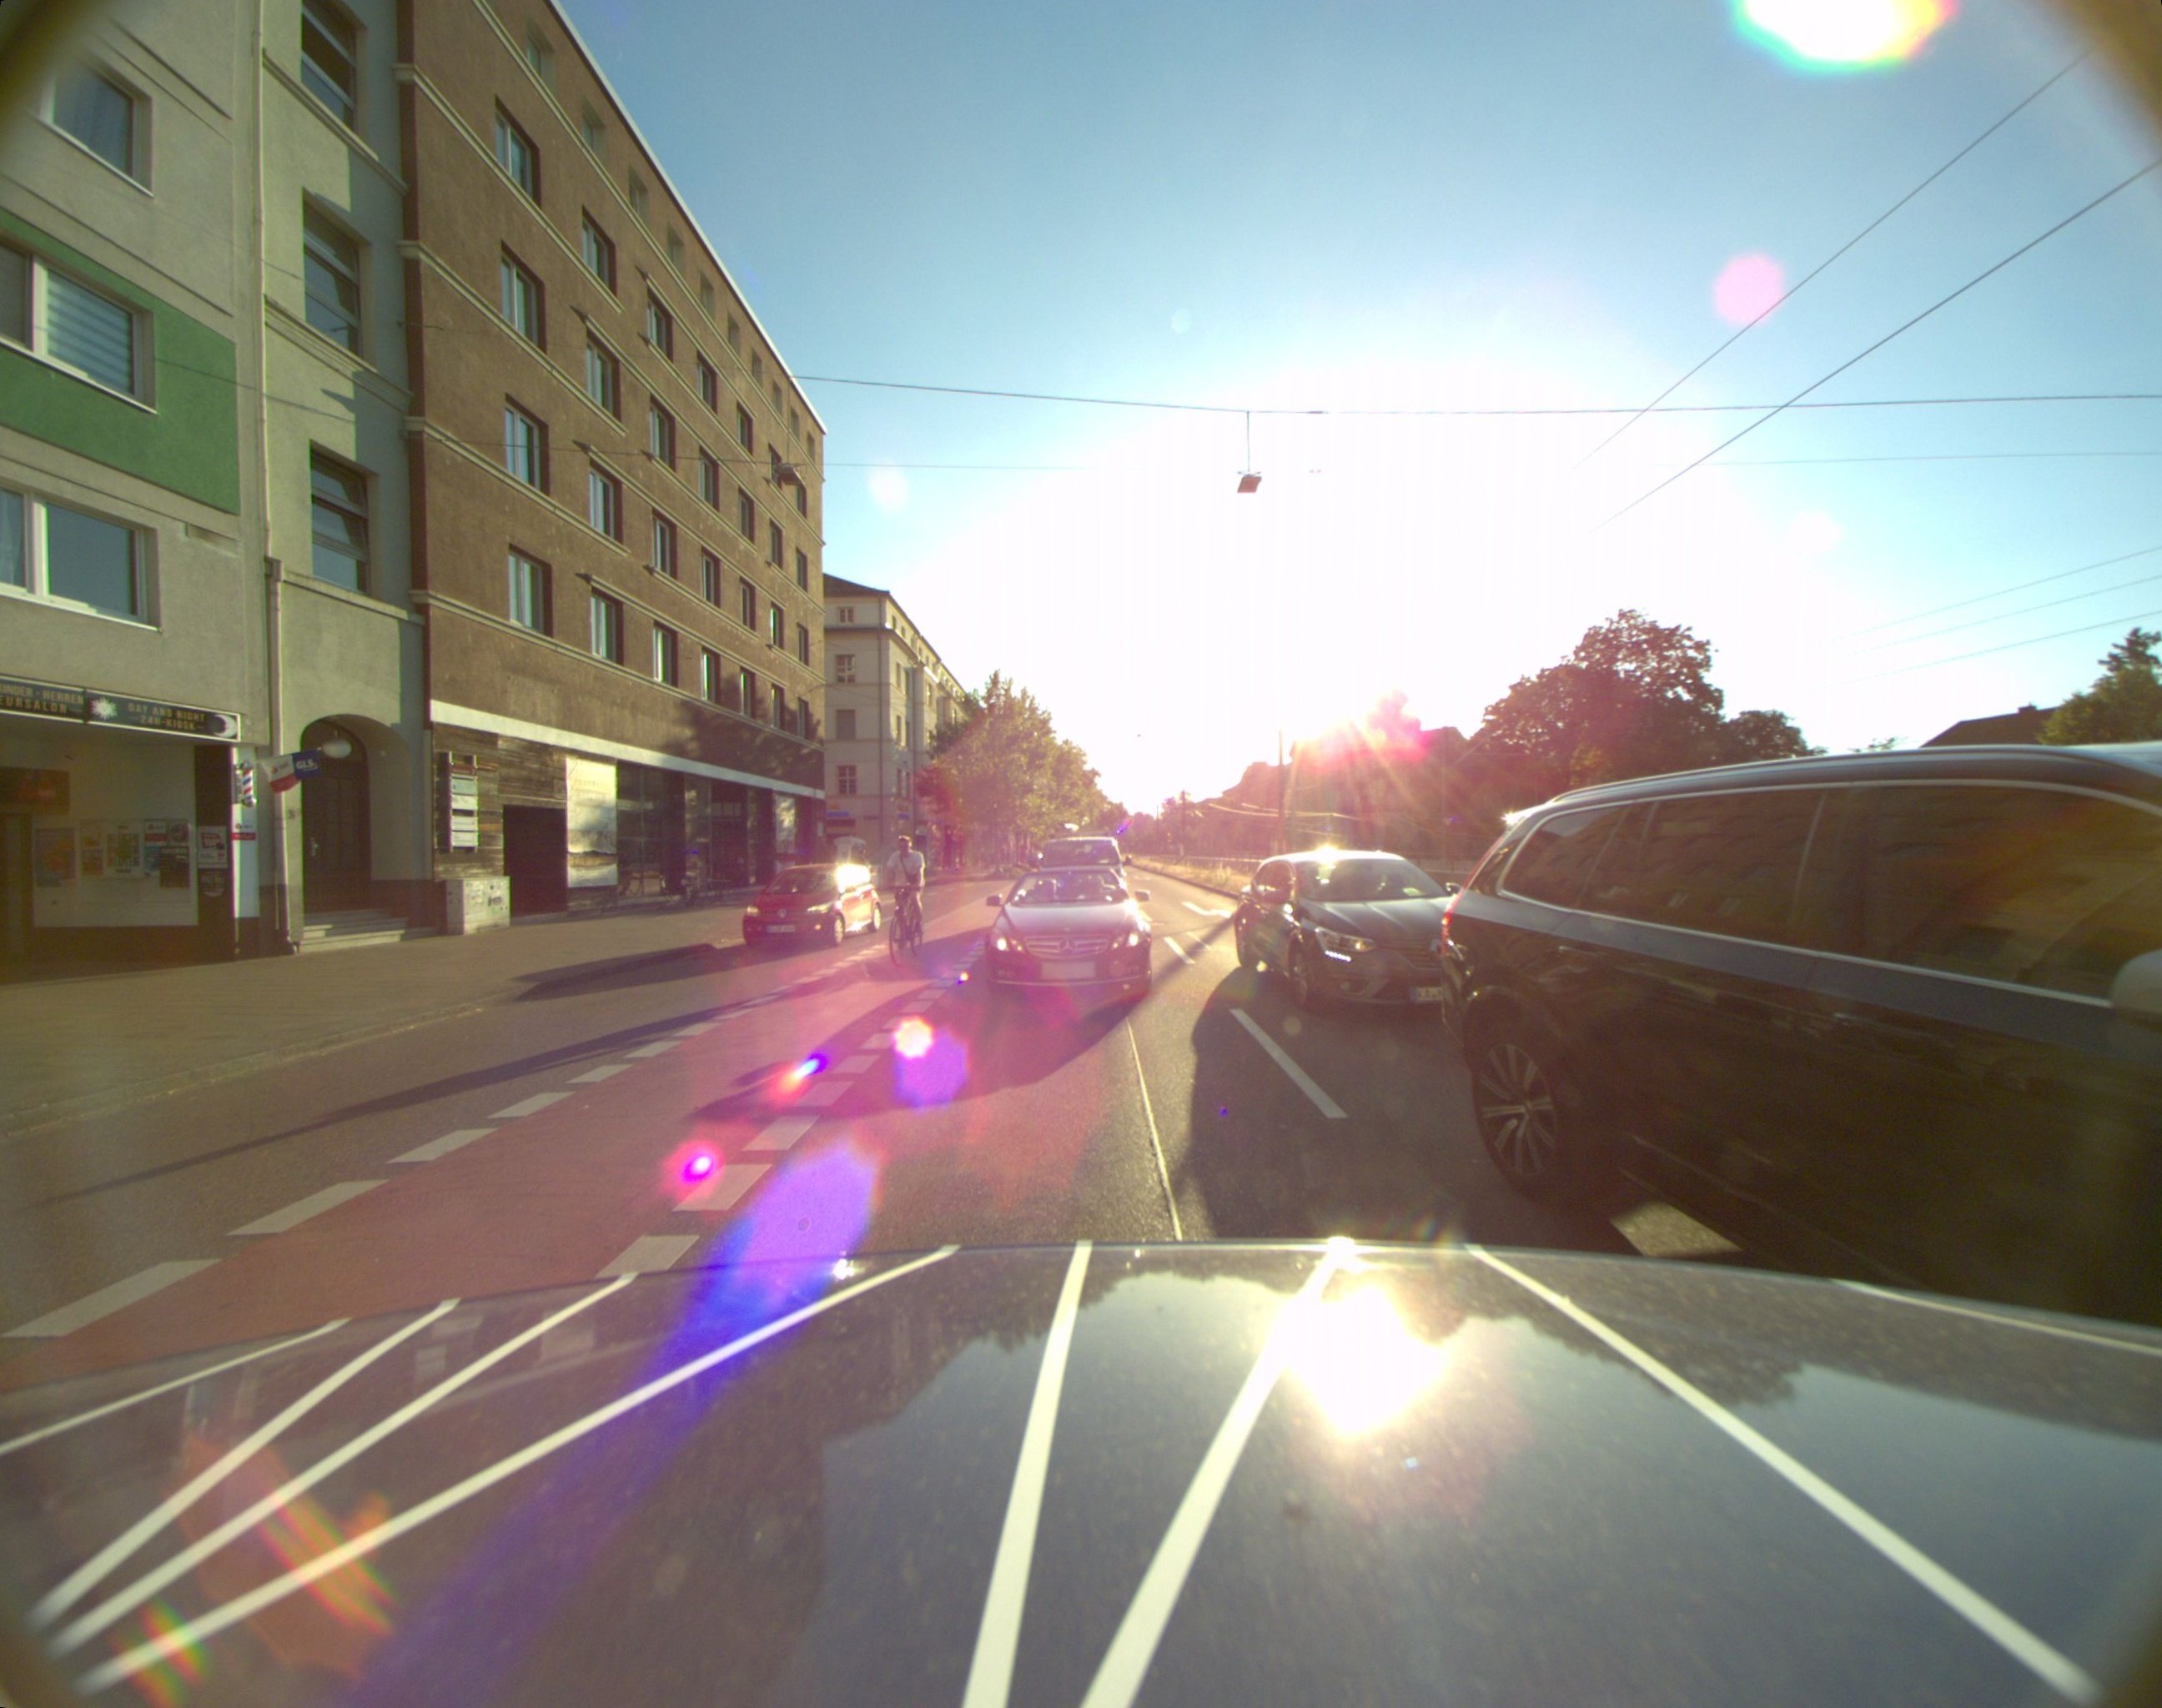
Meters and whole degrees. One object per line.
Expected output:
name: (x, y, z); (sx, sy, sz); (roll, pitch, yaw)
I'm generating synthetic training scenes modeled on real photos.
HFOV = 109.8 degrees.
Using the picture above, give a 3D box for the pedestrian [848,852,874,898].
pedestrian: (-7.689, 0.725, 26.612); (0.603, 1.587, 0.884); (-1, 1, 0)

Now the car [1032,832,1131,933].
car: (0.009, 0.545, 17.488); (1.920, 1.978, 4.946); (-1, 1, 0)

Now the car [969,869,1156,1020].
car: (-0.171, 0.915, 9.412); (1.776, 1.300, 4.240); (-1, 0, 0)

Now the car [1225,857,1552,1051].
car: (2.807, 0.801, 7.972); (1.815, 1.393, 3.919); (-3, 0, 1)

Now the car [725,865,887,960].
car: (-5.085, 1.013, 14.583); (1.687, 1.472, 3.539); (-3, 0, 1)

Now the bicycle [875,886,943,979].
bicycle: (-2.517, 1.111, 11.276); (0.530, 1.152, 1.849); (-2, 1, 1)

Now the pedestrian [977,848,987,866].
pedestrian: (-8.947, 0.270, 68.920); (0.728, 1.666, 0.924); (-1, 1, 0)

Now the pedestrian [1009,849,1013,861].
pedestrian: (-8.392, 0.162, 91.221); (0.310, 1.431, 0.357); (-1, 1, 8)

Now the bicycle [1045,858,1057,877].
bicycle: (-1.877, 0.835, 47.932); (0.530, 1.152, 1.849); (-2, 1, 2)

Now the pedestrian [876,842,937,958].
pedestrian: (-2.587, 0.655, 11.311); (0.640, 1.639, 0.843); (-2, 1, 0)

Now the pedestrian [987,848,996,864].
pedestrian: (-8.082, 0.206, 68.605); (0.728, 1.431, 0.924); (-1, 1, 0)

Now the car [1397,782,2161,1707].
car: (2.730, 0.676, 1.647); (1.956, 1.702, 4.850); (-3, 0, -1)

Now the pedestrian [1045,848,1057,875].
pedestrian: (-1.887, 0.453, 47.946); (0.679, 1.639, 0.901); (-2, 1, 2)
